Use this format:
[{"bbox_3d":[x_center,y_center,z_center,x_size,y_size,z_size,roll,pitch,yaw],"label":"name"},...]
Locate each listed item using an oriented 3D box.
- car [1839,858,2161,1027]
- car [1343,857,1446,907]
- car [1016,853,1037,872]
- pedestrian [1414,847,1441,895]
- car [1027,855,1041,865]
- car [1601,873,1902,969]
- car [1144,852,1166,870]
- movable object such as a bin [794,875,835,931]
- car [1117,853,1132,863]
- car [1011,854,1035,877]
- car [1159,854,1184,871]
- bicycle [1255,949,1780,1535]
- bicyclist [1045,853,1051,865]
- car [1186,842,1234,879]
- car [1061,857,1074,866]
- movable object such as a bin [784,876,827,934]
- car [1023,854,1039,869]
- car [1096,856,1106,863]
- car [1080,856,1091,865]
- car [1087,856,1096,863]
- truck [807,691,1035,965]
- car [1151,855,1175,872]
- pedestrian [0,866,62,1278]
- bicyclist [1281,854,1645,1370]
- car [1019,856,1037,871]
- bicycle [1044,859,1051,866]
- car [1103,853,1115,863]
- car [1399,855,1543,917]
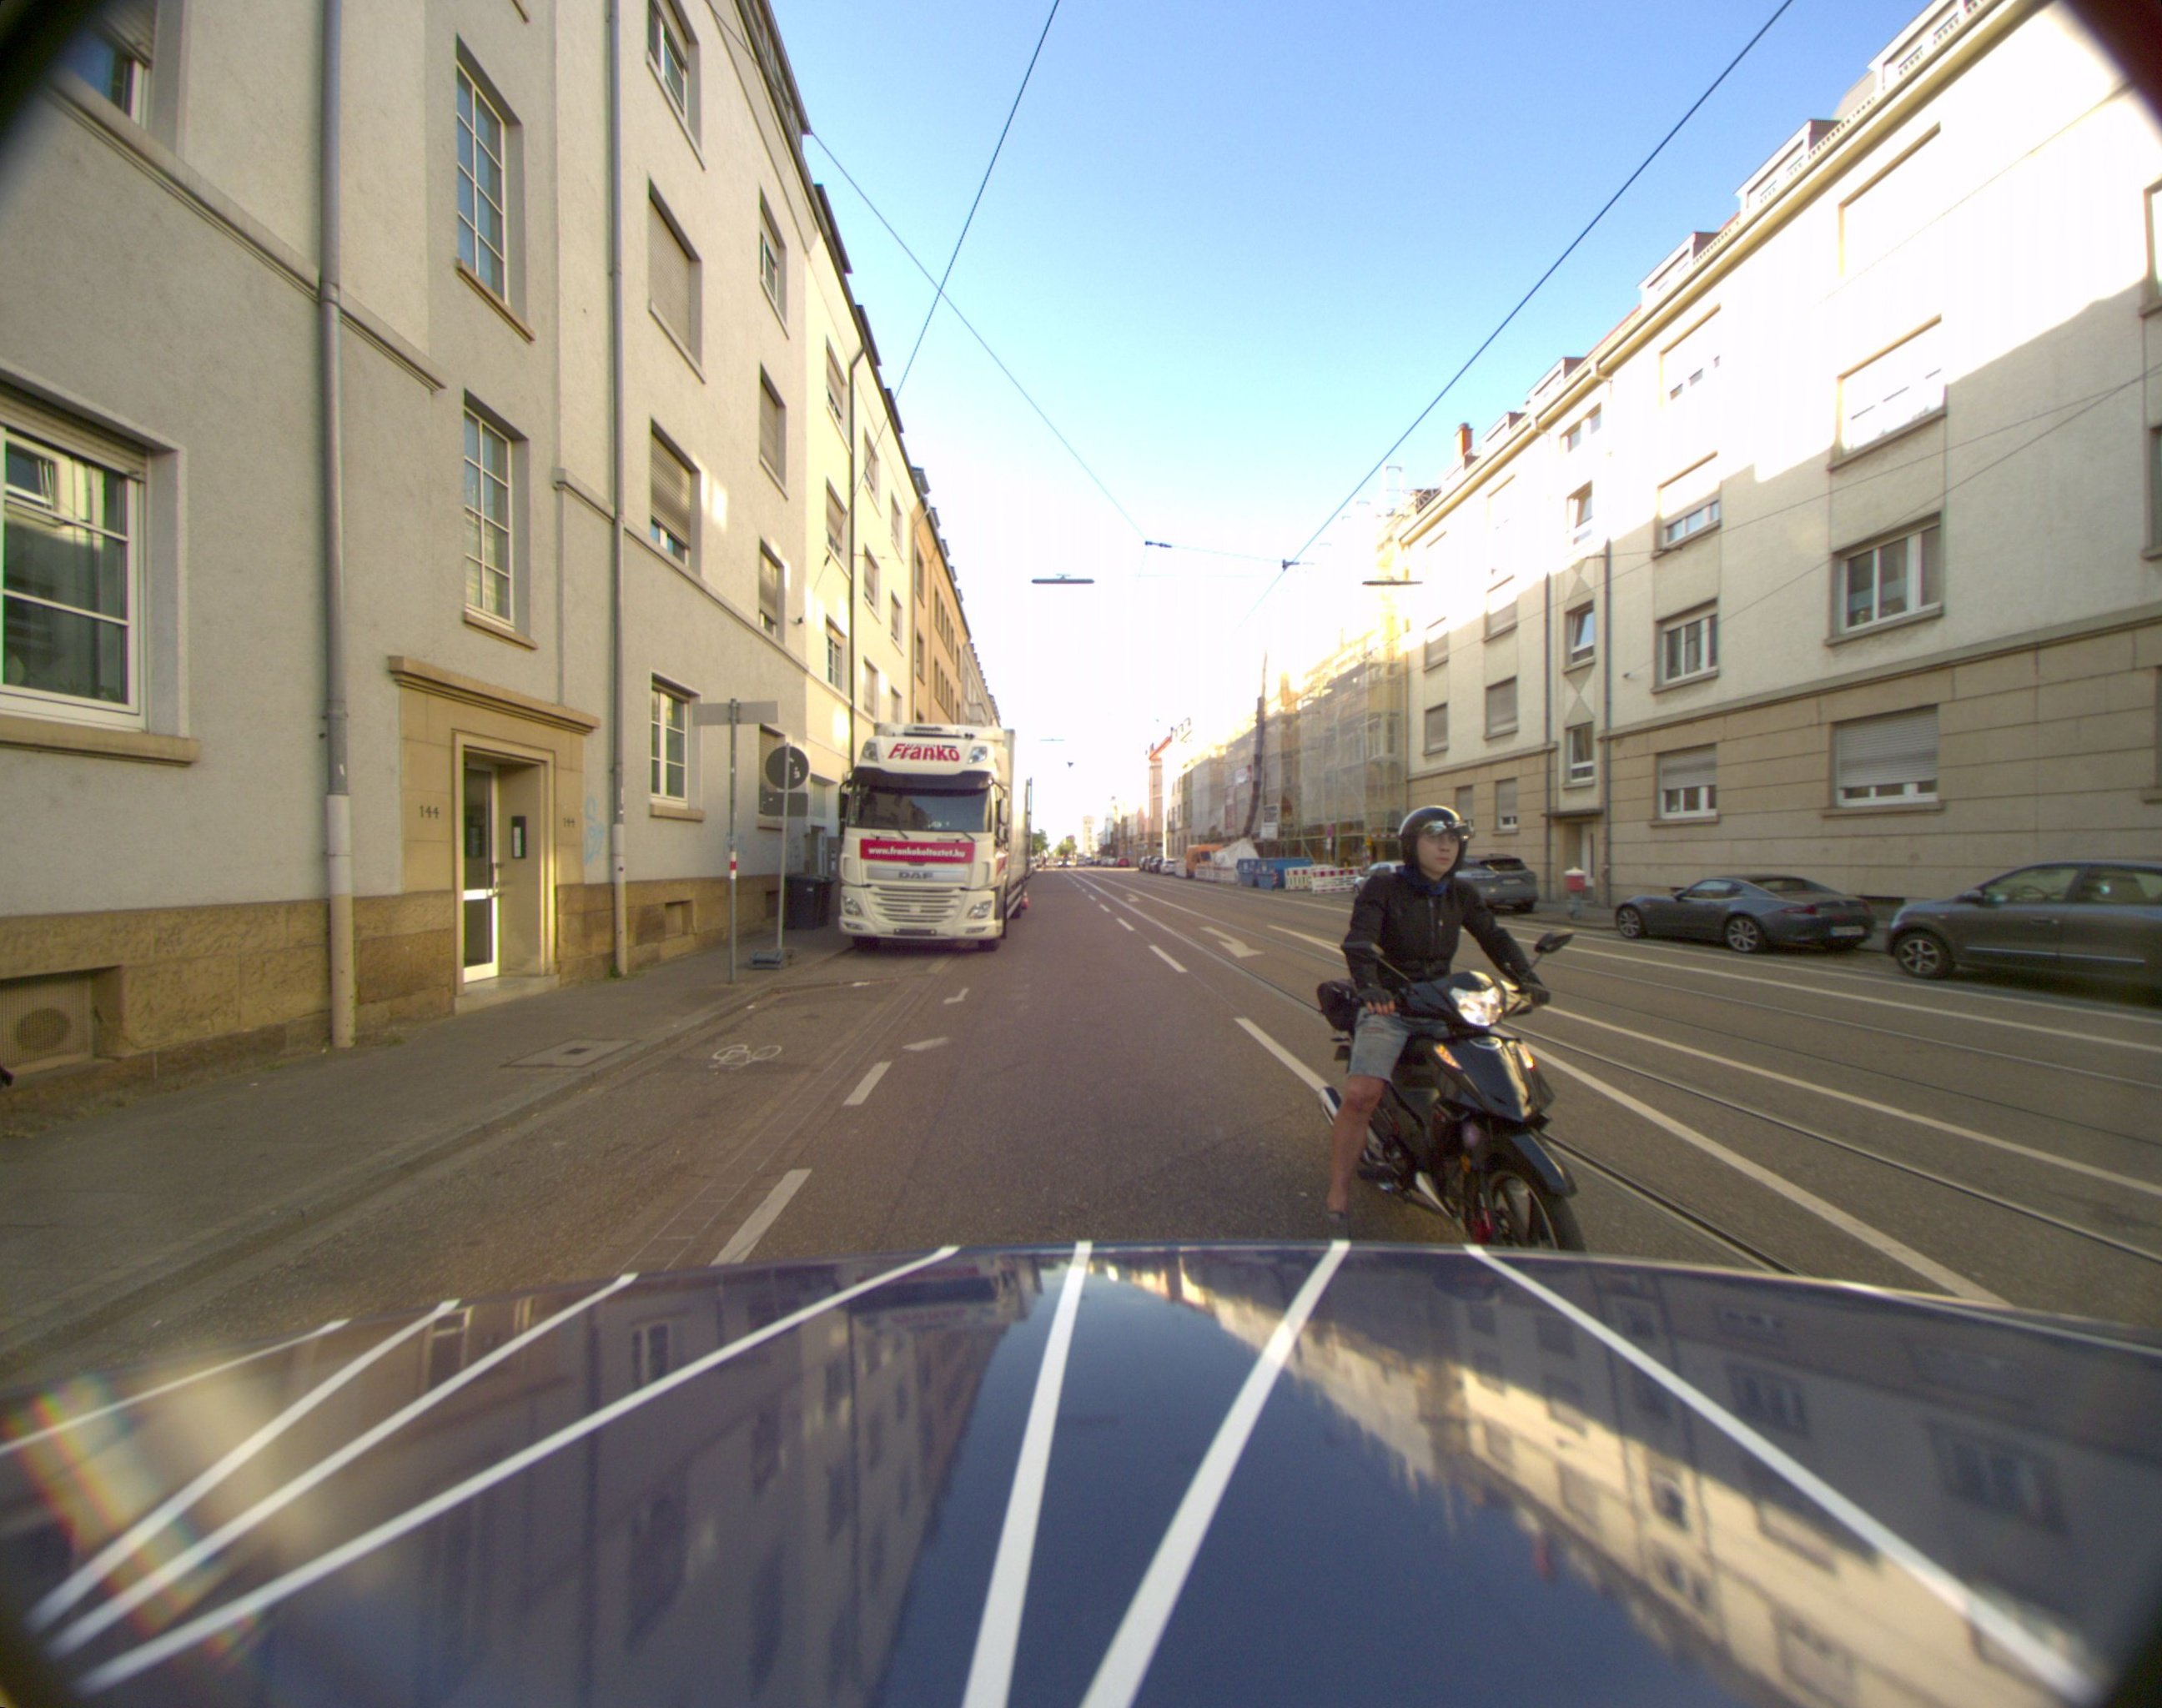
[{"bbox_3d":[11.411,0.880,8.552,1.704,1.560,3.999,-2,1,-2],"label":"car"},{"bbox_3d":[10.624,0.897,26.048,1.704,1.407,3.999,-3,1,-2],"label":"car"},{"bbox_3d":[-5.099,0.805,71.566,1.703,1.688,4.187,1,0,0],"label":"car"},{"bbox_3d":[12.453,0.593,27.347,0.582,1.684,0.716,-2,1,-3],"label":"pedestrian"},{"bbox_3d":[-6.927,0.891,112.929,1.999,1.412,3.726,1,0,-2],"label":"car"},{"bbox_3d":[11.189,1.036,13.088,1.704,1.209,3.784,-2,1,-4],"label":"car"},{"bbox_3d":[8.041,0.764,83.107,1.799,1.836,3.768,-2,0,-3],"label":"car"},{"bbox_3d":[-5.458,0.998,15.569,0.660,1.098,0.541,0,1,-5],"label":"movable object such as a bin"},{"bbox_3d":[6.735,0.659,118.491,1.799,1.494,3.768,-2,0,-3],"label":"car"},{"bbox_3d":[-4.515,0.864,59.658,1.713,1.683,4.588,1,0,-3],"label":"car"},{"bbox_3d":[8.434,0.778,70.978,1.751,1.502,3.999,1,0,-2],"label":"car"},{"bbox_3d":[1.296,1.063,2.837,0.740,1.170,1.973,0,0,-3],"label":"bicycle"},{"bbox_3d":[-4.211,0.591,95.942,0.744,1.481,0.816,0,0,-1],"label":"bicyclist"},{"bbox_3d":[8.939,0.416,53.302,2.125,2.454,5.999,1,0,-2],"label":"car"},{"bbox_3d":[-2.095,1.160,117.006,1.859,1.369,4.000,0,0,1],"label":"car"},{"bbox_3d":[-5.422,1.002,14.977,0.660,1.098,0.541,0,1,-5],"label":"movable object such as a bin"},{"bbox_3d":[-5.409,0.761,82.347,1.703,1.581,3.960,0,0,-2],"label":"car"},{"bbox_3d":[4.378,1.233,167.620,1.799,1.494,3.768,-2,0,-3],"label":"car"},{"bbox_3d":[0.910,1.282,152.804,1.826,1.559,4.199,-2,0,-4],"label":"car"},{"bbox_3d":[2.646,1.406,191.687,1.799,1.494,3.768,-2,0,-3],"label":"car"},{"bbox_3d":[-2.723,-0.367,17.163,2.867,4.049,11.776,0,0,-1],"label":"truck"},{"bbox_3d":[8.268,0.917,77.152,1.702,1.569,4.221,-2,0,-3],"label":"car"},{"bbox_3d":[-4.408,0.805,2.530,0.827,1.525,0.869,2,0,-1],"label":"pedestrian"},{"bbox_3d":[1.264,0.773,2.711,0.844,1.545,0.850,0,0,-3],"label":"bicyclist"},{"bbox_3d":[-5.340,0.937,77.229,1.703,1.496,3.862,0,0,-2],"label":"car"},{"bbox_3d":[-4.224,1.054,95.830,0.744,0.850,1.885,0,0,-1],"label":"bicycle"},{"bbox_3d":[5.449,0.822,149.136,1.999,2.002,3.999,1,0,-3],"label":"car"},{"bbox_3d":[10.801,0.820,21.439,1.704,1.558,4.405,0,0,-2],"label":"car"}]
